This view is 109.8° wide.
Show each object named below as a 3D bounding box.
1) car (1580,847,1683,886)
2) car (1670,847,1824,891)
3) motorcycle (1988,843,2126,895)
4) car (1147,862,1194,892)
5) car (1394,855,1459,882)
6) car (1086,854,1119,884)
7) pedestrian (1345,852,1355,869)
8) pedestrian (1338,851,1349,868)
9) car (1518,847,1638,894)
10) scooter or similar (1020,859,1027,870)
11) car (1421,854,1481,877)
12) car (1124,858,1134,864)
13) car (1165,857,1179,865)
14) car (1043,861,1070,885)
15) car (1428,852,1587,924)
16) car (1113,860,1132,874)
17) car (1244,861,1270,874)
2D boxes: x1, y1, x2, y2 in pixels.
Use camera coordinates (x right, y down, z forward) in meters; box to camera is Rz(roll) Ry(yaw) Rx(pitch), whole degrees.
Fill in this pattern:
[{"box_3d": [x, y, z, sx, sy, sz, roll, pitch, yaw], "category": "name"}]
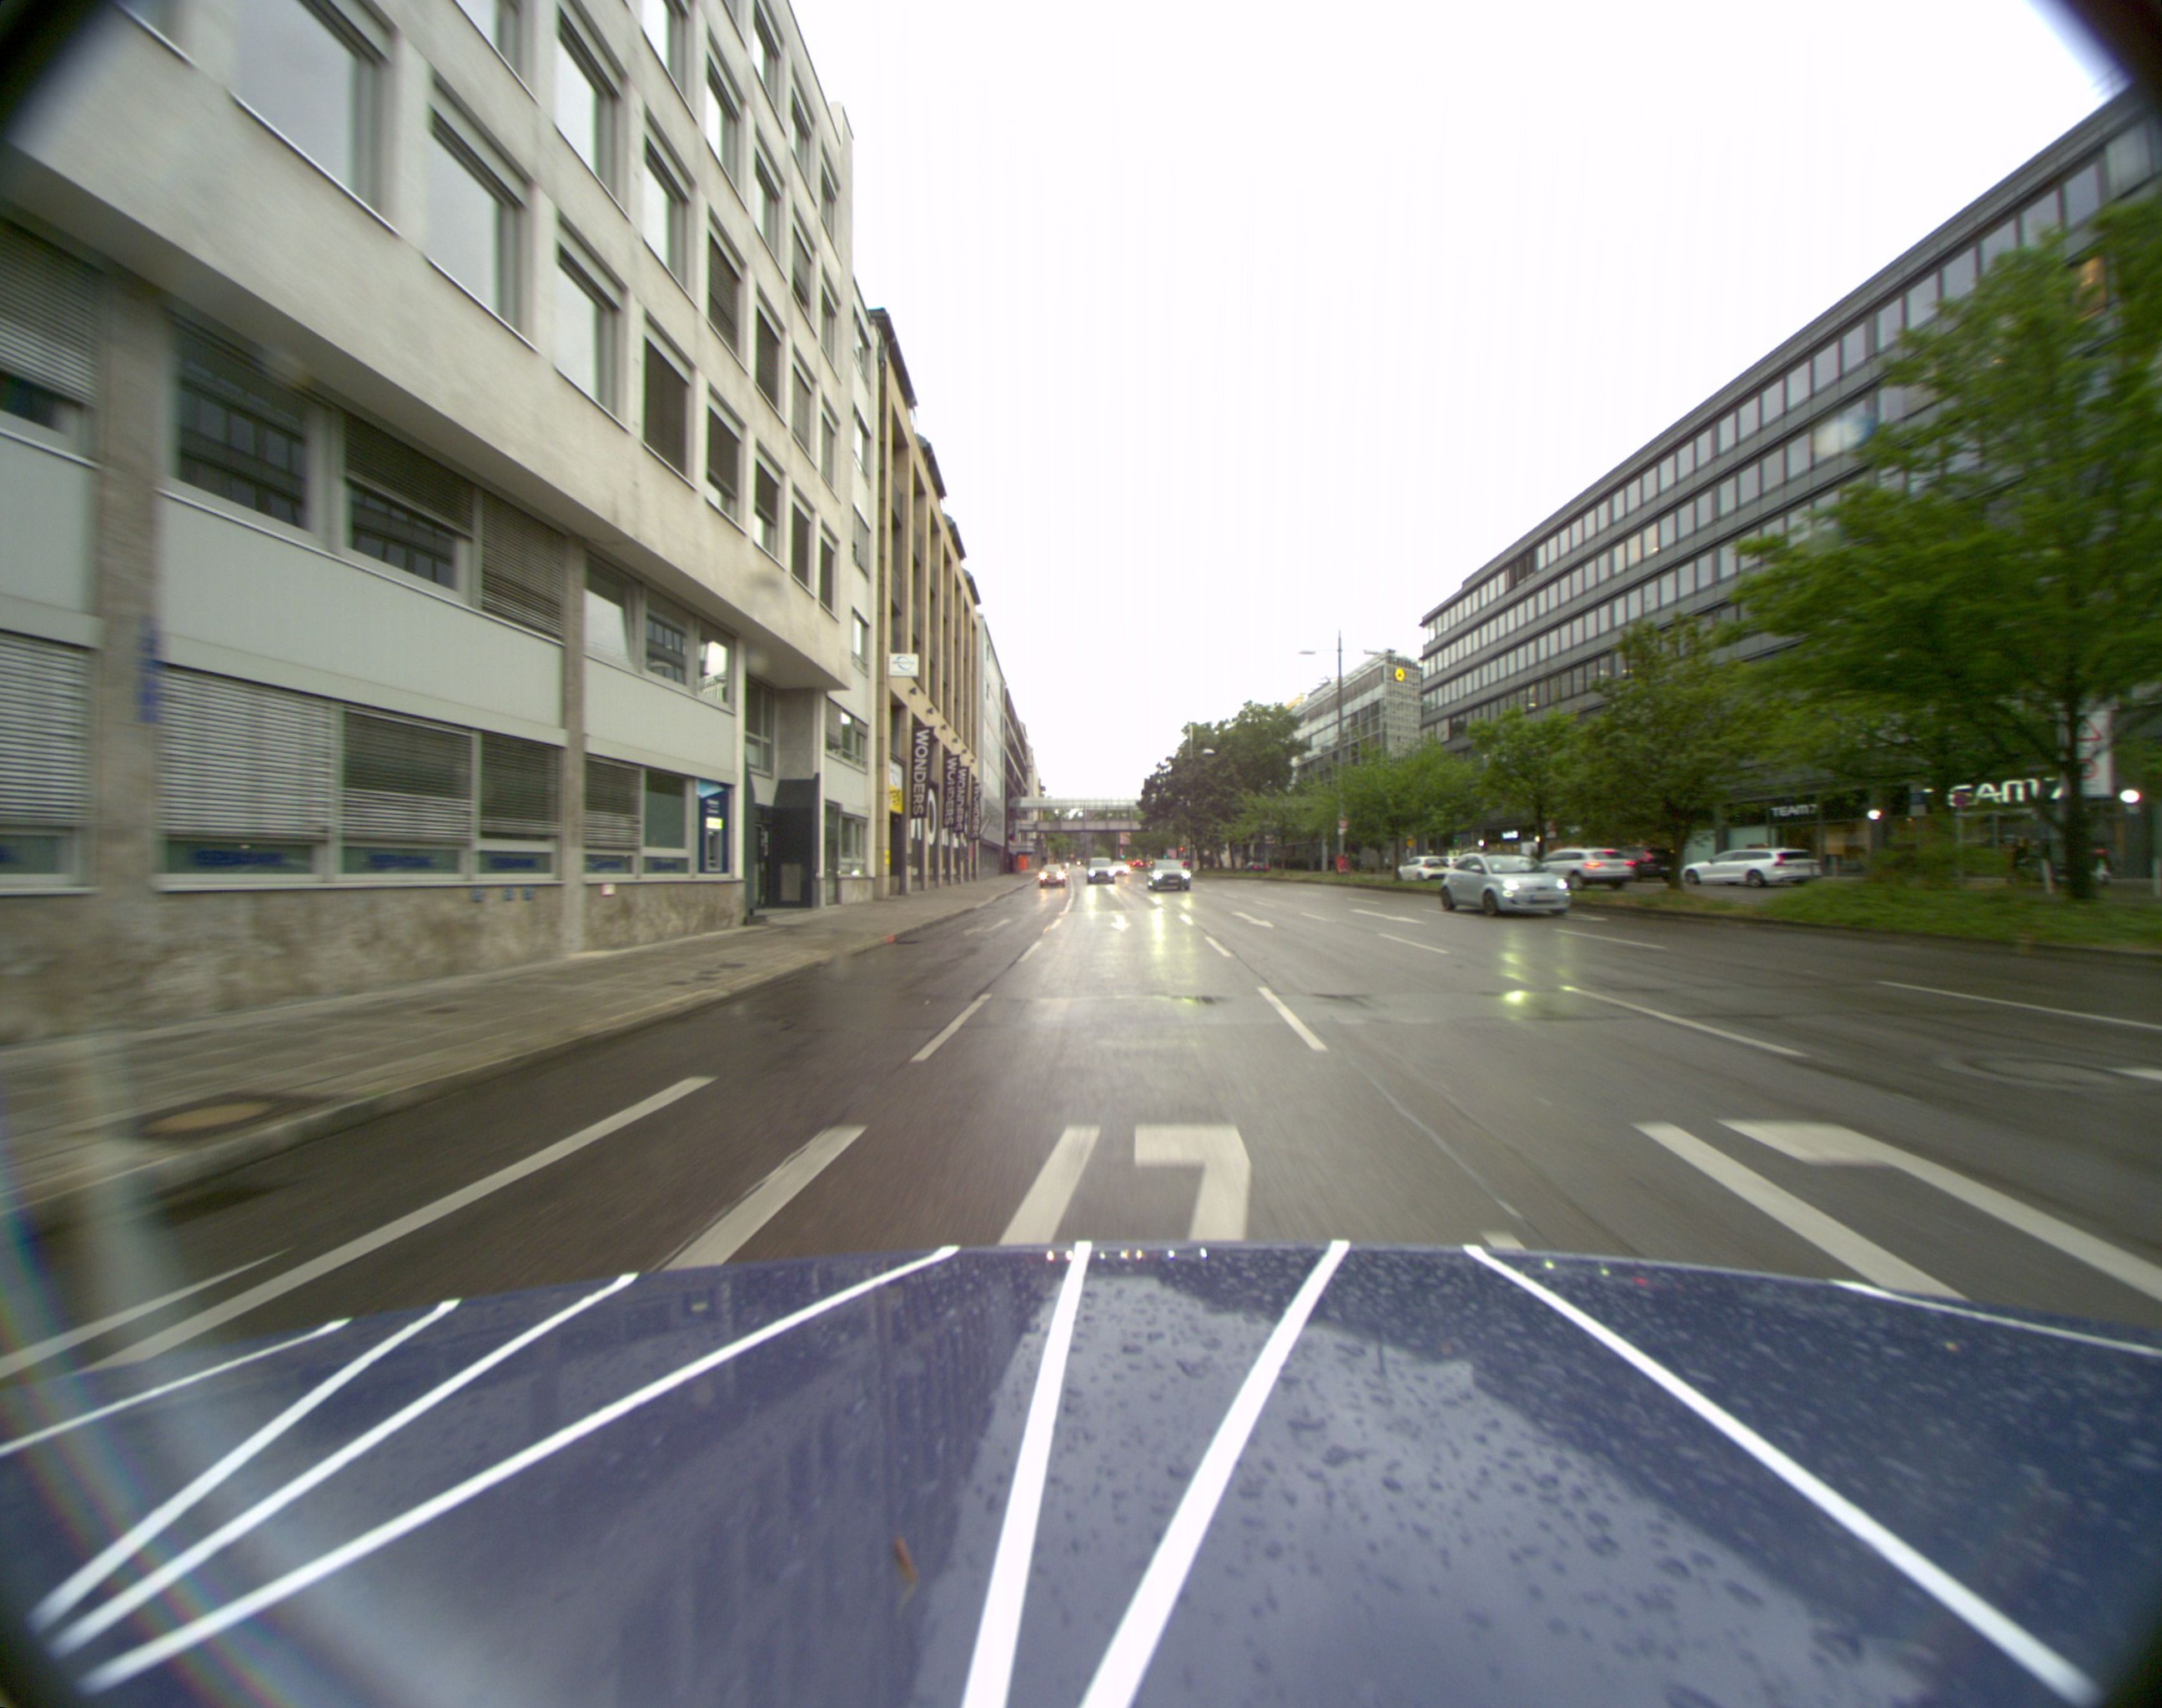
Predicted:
[{"box_3d": [26.073, 0.567, 36.183, 1.813, 1.651, 4.310, -2, 0, 1], "category": "car"}, {"box_3d": [26.079, 0.567, 30.038, 1.813, 1.476, 4.772, -4, 0, 0], "category": "car"}, {"box_3d": [28.622, 0.421, 22.342, 0.860, 1.386, 2.365, -5, 2, -27], "category": "motorcycle"}, {"box_3d": [4.557, 1.156, 39.325, 1.941, 1.426, 4.288, -1, 0, 1], "category": "car"}, {"box_3d": [19.640, 0.783, 43.382, 1.687, 1.423, 4.082, -1, 0, -2], "category": "car"}, {"box_3d": [1.507, 1.080, 55.241, 2.163, 2.014, 5.041, -1, 0, -1], "category": "car"}, {"box_3d": [29.577, 0.726, 83.482, 0.729, 1.822, 0.924, -2, 1, -1], "category": "pedestrian"}, {"box_3d": [28.654, 0.613, 82.959, 0.729, 1.788, 0.924, -2, 1, -1], "category": "pedestrian"}, {"box_3d": [20.203, 0.639, 31.160, 1.742, 1.717, 4.492, -2, 0, -3], "category": "car"}, {"box_3d": [-6.996, 1.257, 92.306, 0.472, 1.266, 1.306, -1, 0, -17], "category": "scooter or similar"}, {"box_3d": [25.580, 0.776, 52.720, 1.814, 1.436, 4.308, -2, 0, -4], "category": "car"}, {"box_3d": [10.730, 1.634, 169.179, 1.732, 1.303, 4.076, -1, 0, -4], "category": "car"}, {"box_3d": [15.522, 1.199, 129.966, 1.732, 1.425, 4.312, -1, 0, -3], "category": "car"}, {"box_3d": [-1.594, 1.192, 49.205, 1.667, 1.464, 3.483, -1, 0, -2], "category": "car"}, {"box_3d": [10.297, 0.755, 18.677, 1.788, 1.564, 3.691, -1, 0, -1], "category": "car"}, {"box_3d": [4.338, 1.318, 79.411, 1.853, 1.434, 3.871, -1, 0, 2], "category": "car"}, {"box_3d": [20.047, 1.541, 86.717, 1.814, 1.467, 4.300, -1, 0, -3], "category": "car"}]
